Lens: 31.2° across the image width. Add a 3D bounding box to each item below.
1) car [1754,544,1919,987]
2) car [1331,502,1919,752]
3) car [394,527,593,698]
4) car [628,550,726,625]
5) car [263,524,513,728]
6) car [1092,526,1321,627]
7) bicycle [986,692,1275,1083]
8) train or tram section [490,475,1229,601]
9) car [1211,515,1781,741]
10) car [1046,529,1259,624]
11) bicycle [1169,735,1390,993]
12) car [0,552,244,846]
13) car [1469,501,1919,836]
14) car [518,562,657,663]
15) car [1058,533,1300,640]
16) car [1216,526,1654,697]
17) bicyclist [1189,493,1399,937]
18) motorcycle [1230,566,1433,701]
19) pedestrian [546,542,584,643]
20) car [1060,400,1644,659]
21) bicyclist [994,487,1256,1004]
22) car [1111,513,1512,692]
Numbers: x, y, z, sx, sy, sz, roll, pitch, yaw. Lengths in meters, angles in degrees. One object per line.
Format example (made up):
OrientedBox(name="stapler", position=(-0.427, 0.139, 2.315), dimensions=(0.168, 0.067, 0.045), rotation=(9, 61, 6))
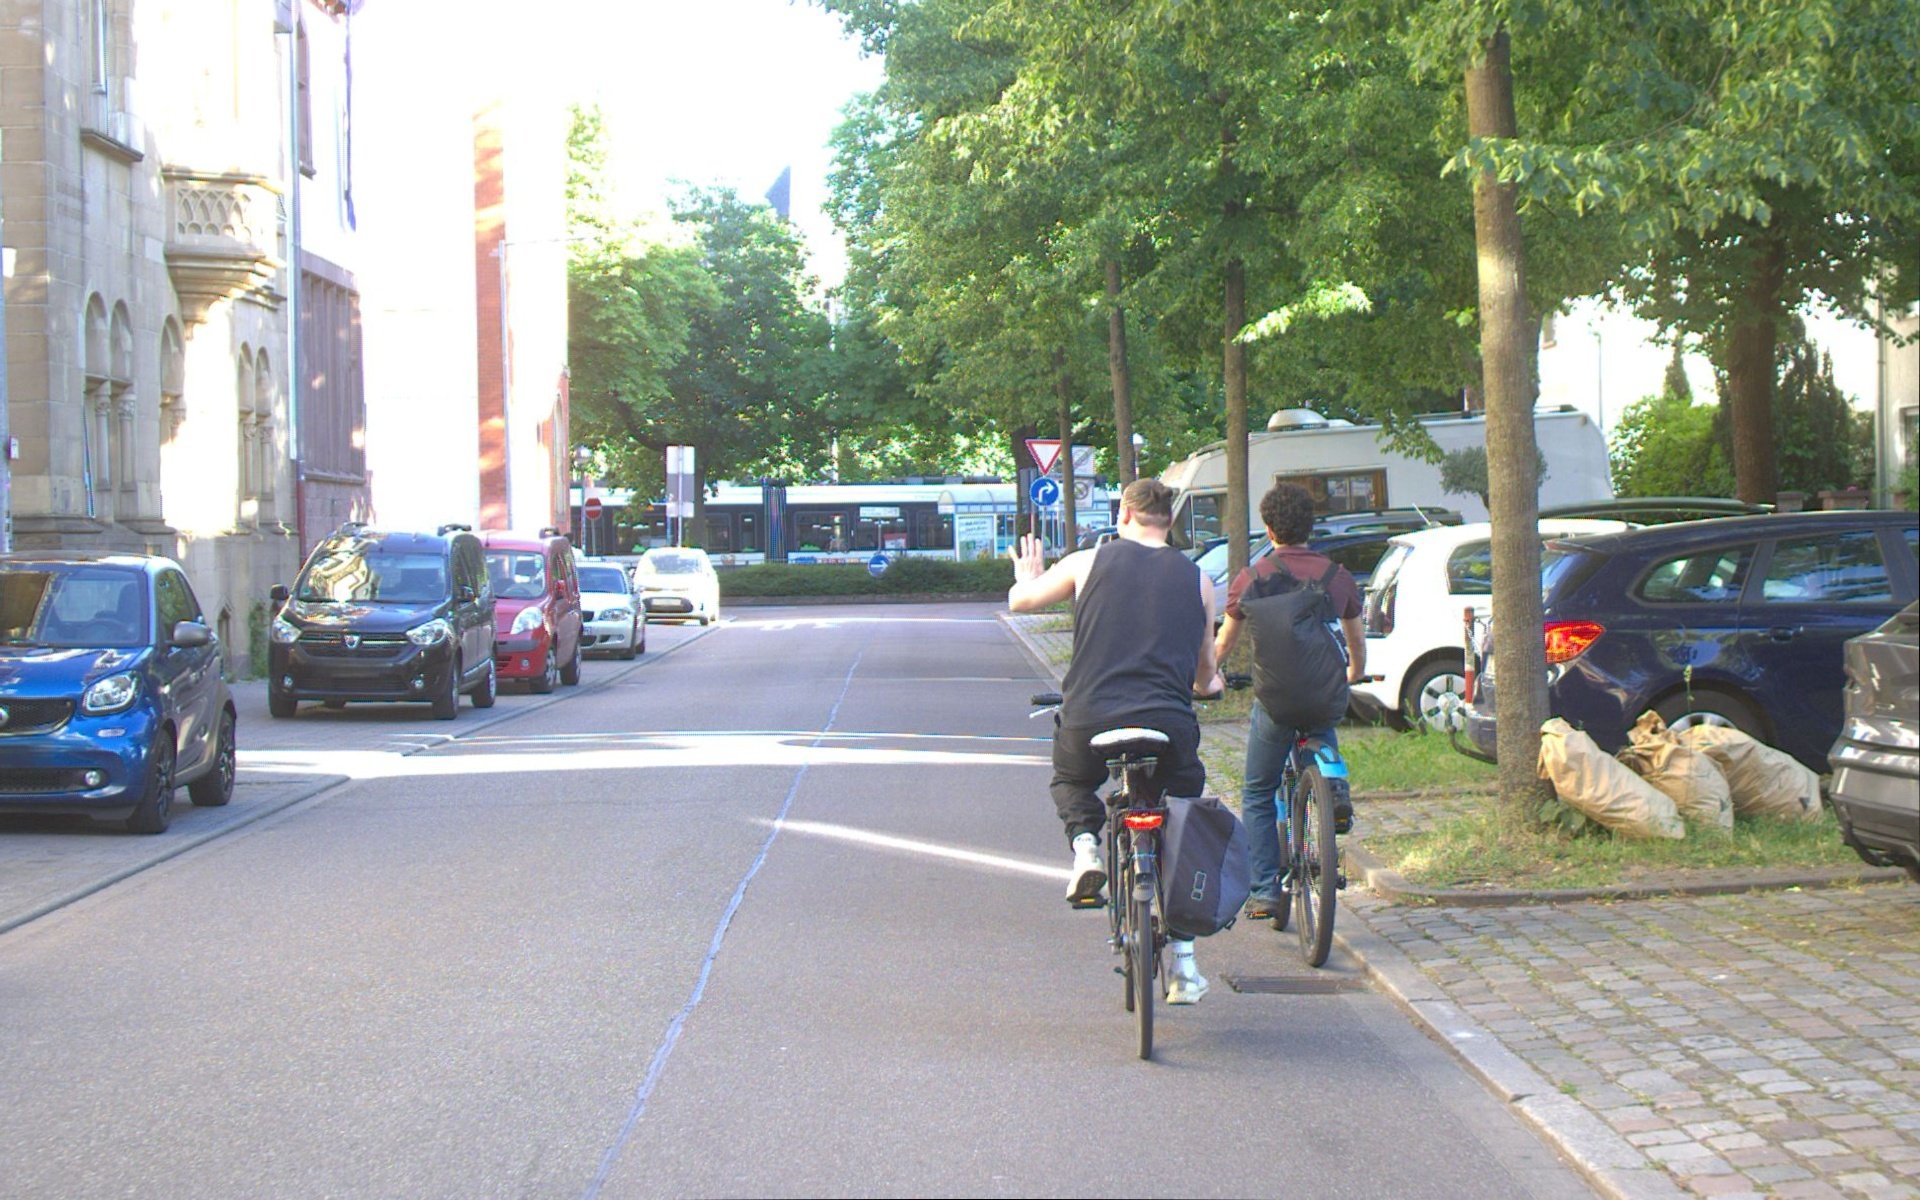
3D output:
OrientedBox(name="car", position=(5.070, 0.498, 12.242), dimensions=(4.032, 1.449, 1.691), rotation=(-1, 1, -4))
OrientedBox(name="car", position=(4.572, 0.195, 24.016), dimensions=(3.773, 1.594, 1.691), rotation=(-1, -1, 1))
OrientedBox(name="car", position=(-5.317, 0.086, 39.649), dimensions=(1.689, 1.819, 4.273), rotation=(1, 1, 0))
OrientedBox(name="car", position=(-5.578, -0.279, 68.166), dimensions=(1.583, 1.371, 4.131), rotation=(1, 1, 0))
OrientedBox(name="car", position=(-5.399, 0.184, 32.939), dimensions=(1.640, 1.777, 4.354), rotation=(1, 1, 0))
OrientedBox(name="car", position=(4.496, -0.432, 63.134), dimensions=(3.986, 1.797, 1.834), rotation=(0, 0, -3))
OrientedBox(name="bicycle", position=(0.494, 0.847, 10.778), dimensions=(0.737, 1.050, 1.956), rotation=(1, 0, -2))
OrientedBox(name="train or tram section", position=(-2.971, -1.898, 110.743), dimensions=(23.800, 3.696, 4.287), rotation=(0, 0, -22))
OrientedBox(name="car", position=(4.076, 0.222, 26.638), dimensions=(4.139, 1.594, 1.702), rotation=(-1, -1, 1))
OrientedBox(name="car", position=(3.735, -0.453, 67.265), dimensions=(3.986, 1.797, 1.834), rotation=(0, 0, -3))
OrientedBox(name="bicycle", position=(1.192, 0.975, 13.137), dimensions=(0.633, 0.796, 1.833), rotation=(-1, 1, -1))
OrientedBox(name="car", position=(-5.192, 0.511, 19.812), dimensions=(1.595, 1.484, 2.737), rotation=(3, 1, -2))
OrientedBox(name="car", position=(4.862, 0.323, 17.679), dimensions=(4.223, 1.594, 1.691), rotation=(-1, -1, 1))
OrientedBox(name="car", position=(-5.444, 0.148, 50.609), dimensions=(1.583, 1.339, 4.131), rotation=(1, 1, 0))
OrientedBox(name="car", position=(3.753, -0.228, 59.379), dimensions=(3.986, 1.797, 1.834), rotation=(0, 0, -3))
OrientedBox(name="car", position=(4.788, 0.126, 35.024), dimensions=(4.138, 1.594, 1.702), rotation=(-1, -1, -3))
OrientedBox(name="bicyclist", position=(1.255, 0.415, 13.069), dimensions=(0.689, 1.621, 0.998), rotation=(0, 1, 0))
OrientedBox(name="motorcycle", position=(3.236, 0.295, 30.000), dimensions=(1.606, 1.137, 0.671), rotation=(-1, 1, 33))
OrientedBox(name="pedestrian", position=(-6.865, -0.131, 59.751), dimensions=(0.609, 1.756, 0.432), rotation=(0, 0, 0))
OrientedBox(name="car", position=(5.035, -0.912, 44.943), dimensions=(7.146, 2.968, 2.465), rotation=(-3, 1, -3))
OrientedBox(name="bicyclist", position=(0.500, 0.439, 10.777), dimensions=(0.730, 1.542, 0.884), rotation=(1, 0, -2))
OrientedBox(name="car", position=(3.808, 0.018, 37.699), dimensions=(4.082, 1.644, 1.641), rotation=(-4, 1, -2))
